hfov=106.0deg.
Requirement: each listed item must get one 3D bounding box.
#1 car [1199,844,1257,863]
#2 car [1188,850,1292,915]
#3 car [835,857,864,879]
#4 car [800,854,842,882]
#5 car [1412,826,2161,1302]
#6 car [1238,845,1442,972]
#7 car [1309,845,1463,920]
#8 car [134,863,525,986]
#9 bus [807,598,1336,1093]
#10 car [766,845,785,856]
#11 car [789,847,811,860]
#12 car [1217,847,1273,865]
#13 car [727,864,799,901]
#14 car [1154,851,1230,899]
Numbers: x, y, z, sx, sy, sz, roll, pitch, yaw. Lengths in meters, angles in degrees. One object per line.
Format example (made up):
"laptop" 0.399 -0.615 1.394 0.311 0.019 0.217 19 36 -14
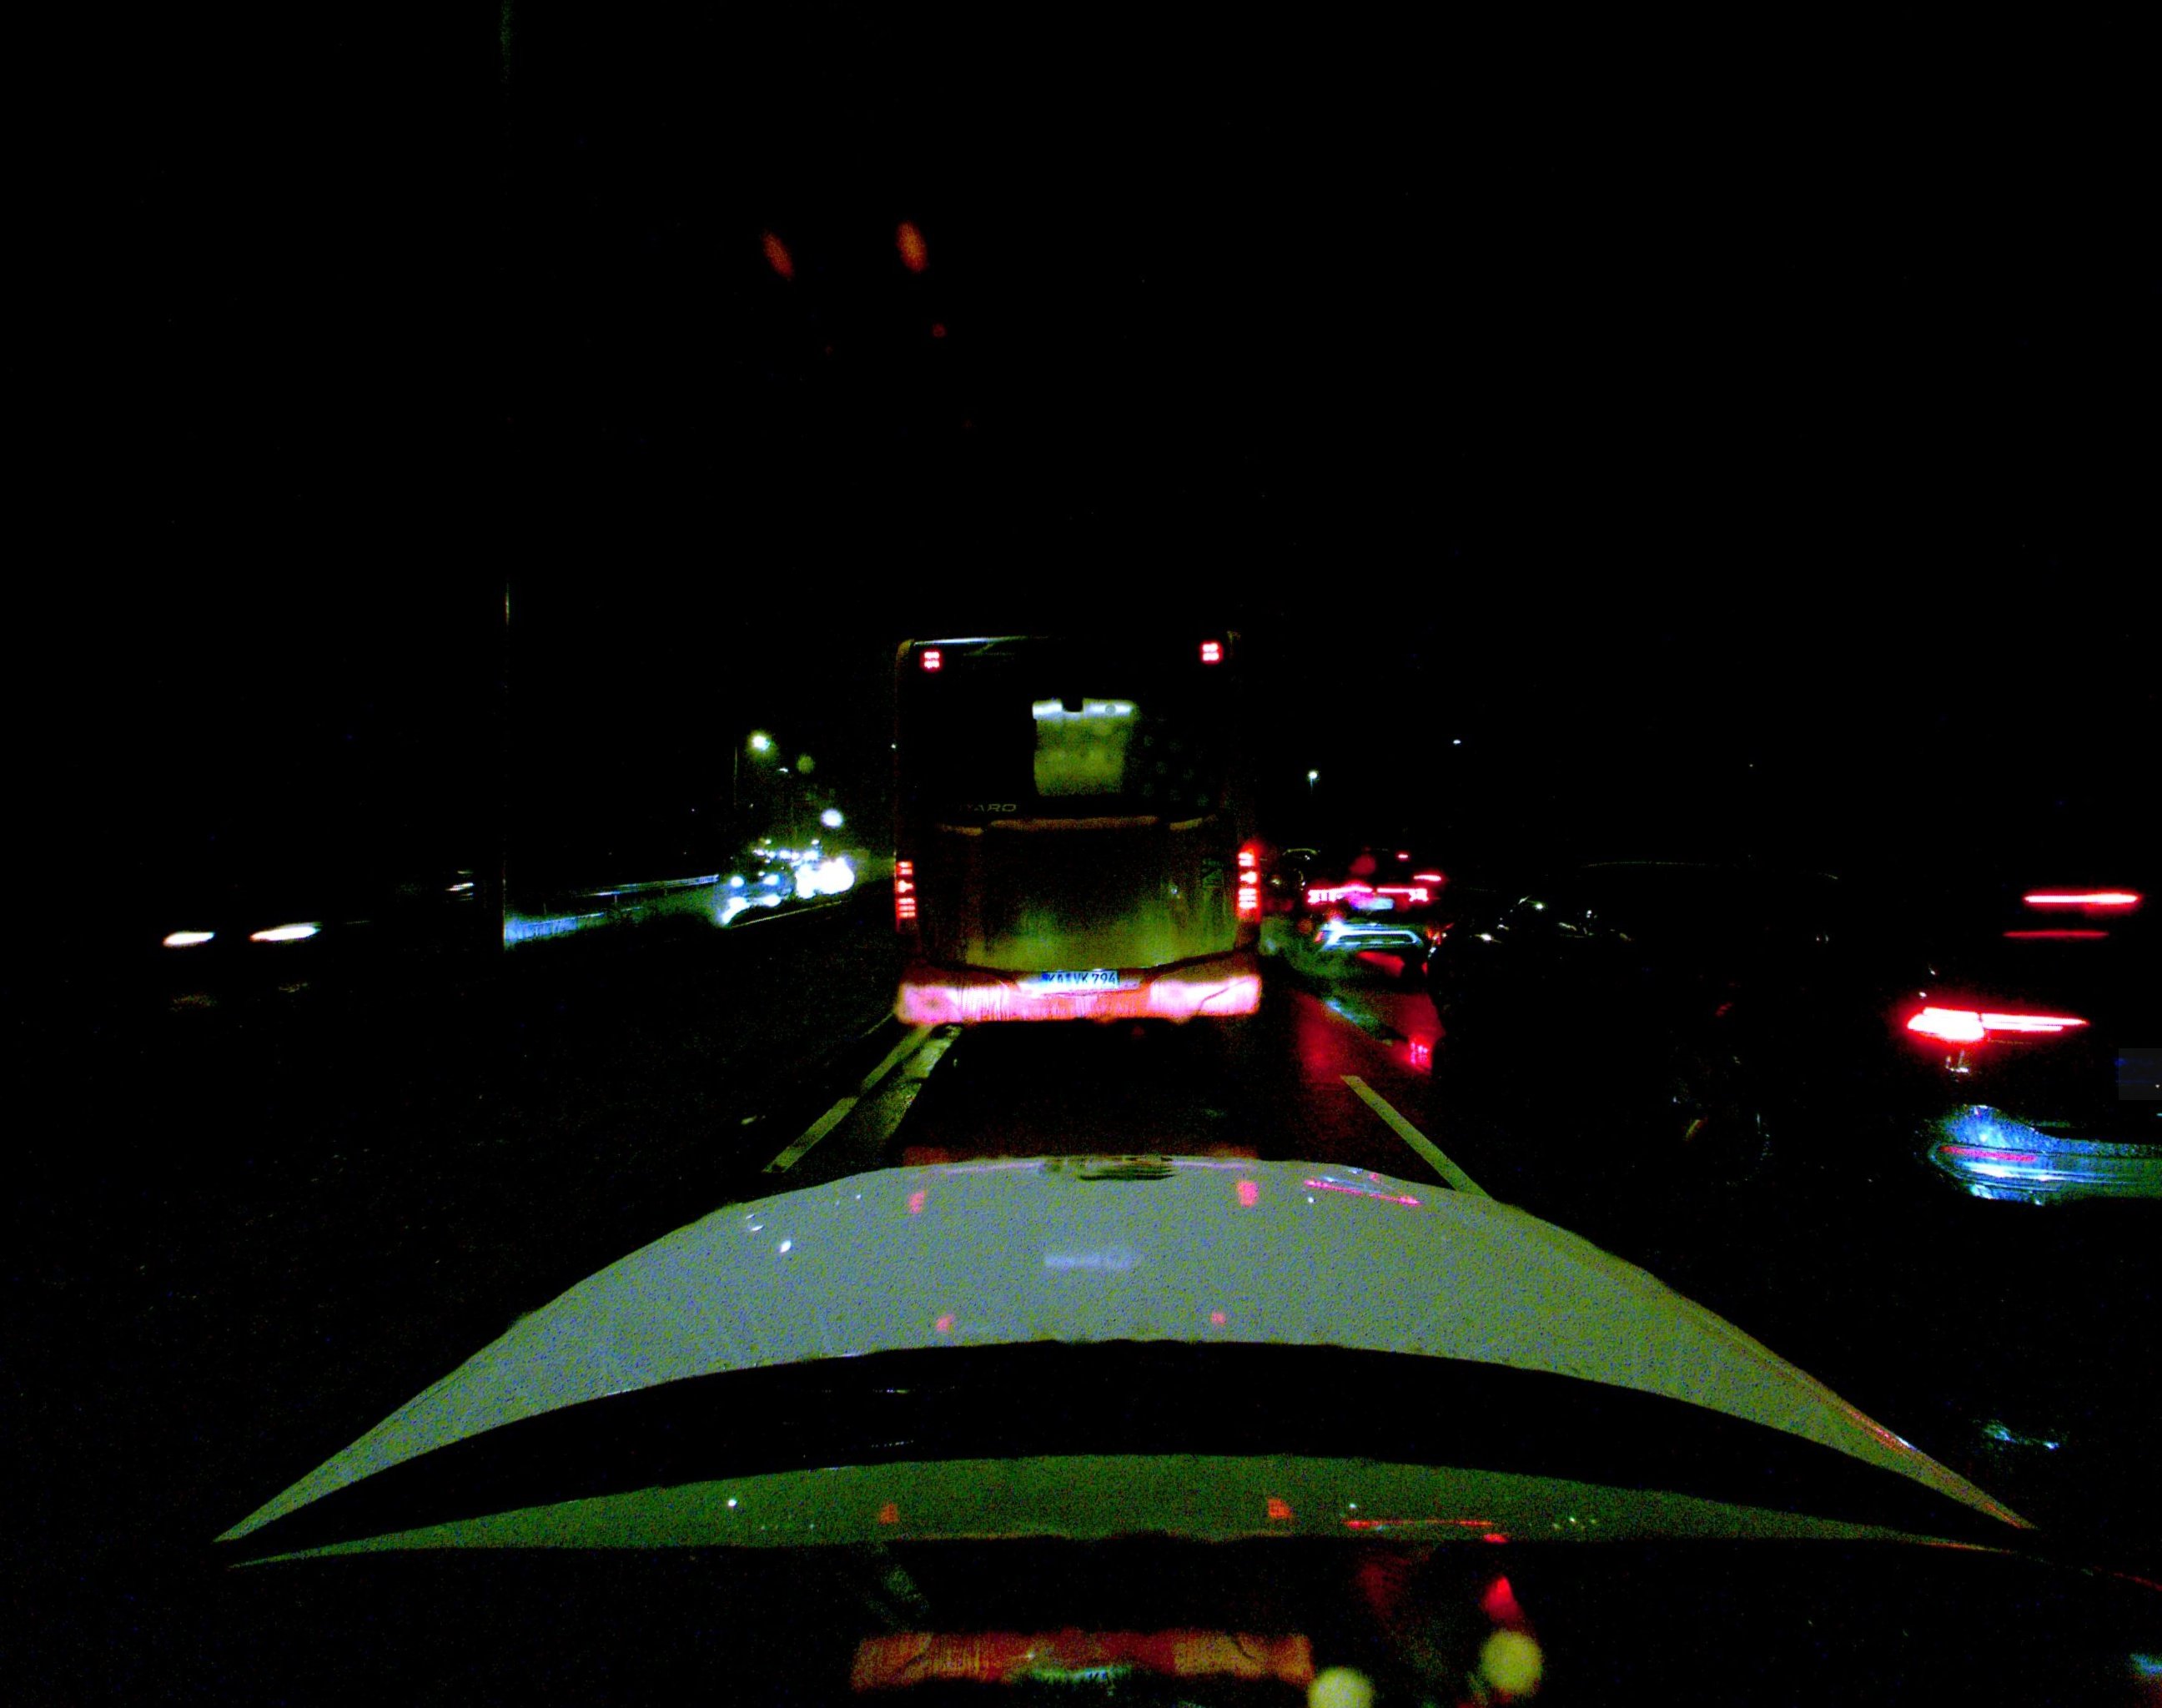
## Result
"car" 12.354 -0.087 68.579 4.477 1.519 1.853 0 2 -6
"car" 3.622 0.608 19.196 1.680 1.330 3.960 -2 0 1
"car" -18.038 1.077 63.566 1.766 1.631 4.235 -1 0 -11
"car" -15.956 0.849 50.183 1.870 1.607 4.233 -1 -1 -10
"car" 3.682 0.700 4.884 1.666 1.506 4.561 1 -1 2
"car" 3.527 0.676 11.857 1.672 1.521 3.959 0 -1 -1
"car" 6.830 0.594 18.810 1.986 1.481 4.339 1 0 1
"car" -12.047 1.001 13.692 1.988 1.508 4.838 -5 0 0
"bus" -0.024 -0.158 9.943 3.274 3.050 9.544 -2 1 0
"car" -40.434 -0.446 107.695 1.752 1.502 3.961 0 -1 -31
"car" -32.438 -0.006 93.952 1.809 1.482 3.781 0 -1 -28
"car" 12.967 0.117 64.557 4.037 1.345 1.744 0 2 -6
"car" -13.488 1.151 34.840 1.710 1.423 4.656 -2 0 -7
"car" 3.583 0.663 26.980 1.987 1.441 3.999 0 -1 0
